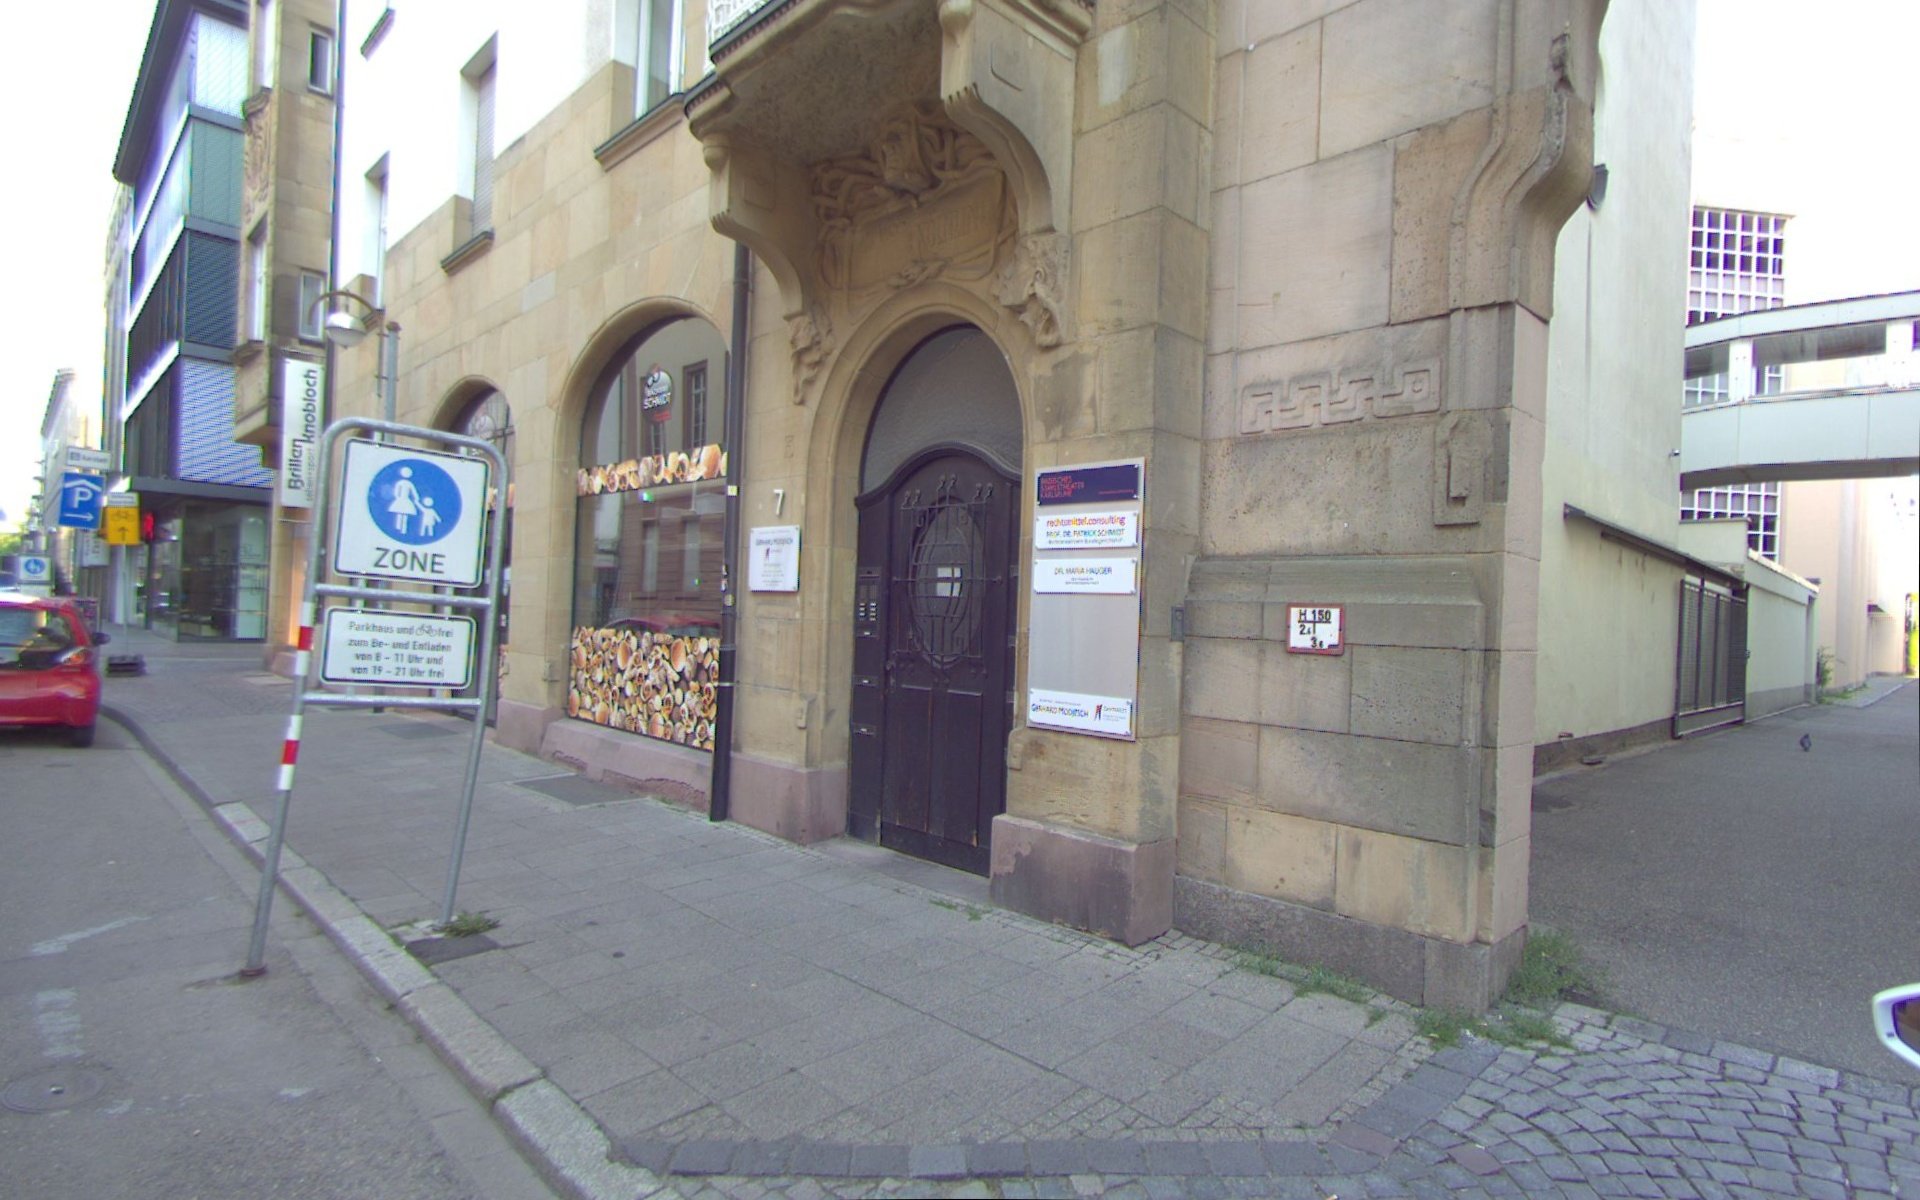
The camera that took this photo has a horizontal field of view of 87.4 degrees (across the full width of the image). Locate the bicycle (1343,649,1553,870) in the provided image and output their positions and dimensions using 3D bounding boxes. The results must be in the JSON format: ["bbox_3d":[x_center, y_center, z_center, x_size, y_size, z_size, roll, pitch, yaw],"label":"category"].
[{"bbox_3d":[2.988,0.872,6.062,0.589,1.094,1.745,1,0,45],"label":"bicycle"}]

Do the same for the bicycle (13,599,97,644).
[{"bbox_3d":[-23.250,0.536,25.820,1.597,1.133,0.612,0,0,-43],"label":"bicycle"}]

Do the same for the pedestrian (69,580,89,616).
[{"bbox_3d":[-41.990,-0.085,47.877,0.666,1.693,0.754,2,-1,-42],"label":"pedestrian"}]

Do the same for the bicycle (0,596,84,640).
[{"bbox_3d":[-24.534,0.465,26.651,1.940,1.145,0.612,0,0,-43],"label":"bicycle"}]

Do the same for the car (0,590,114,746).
[{"bbox_3d":[-10.078,0.624,10.526,1.628,1.460,3.116,6,-3,-43],"label":"car"}]
